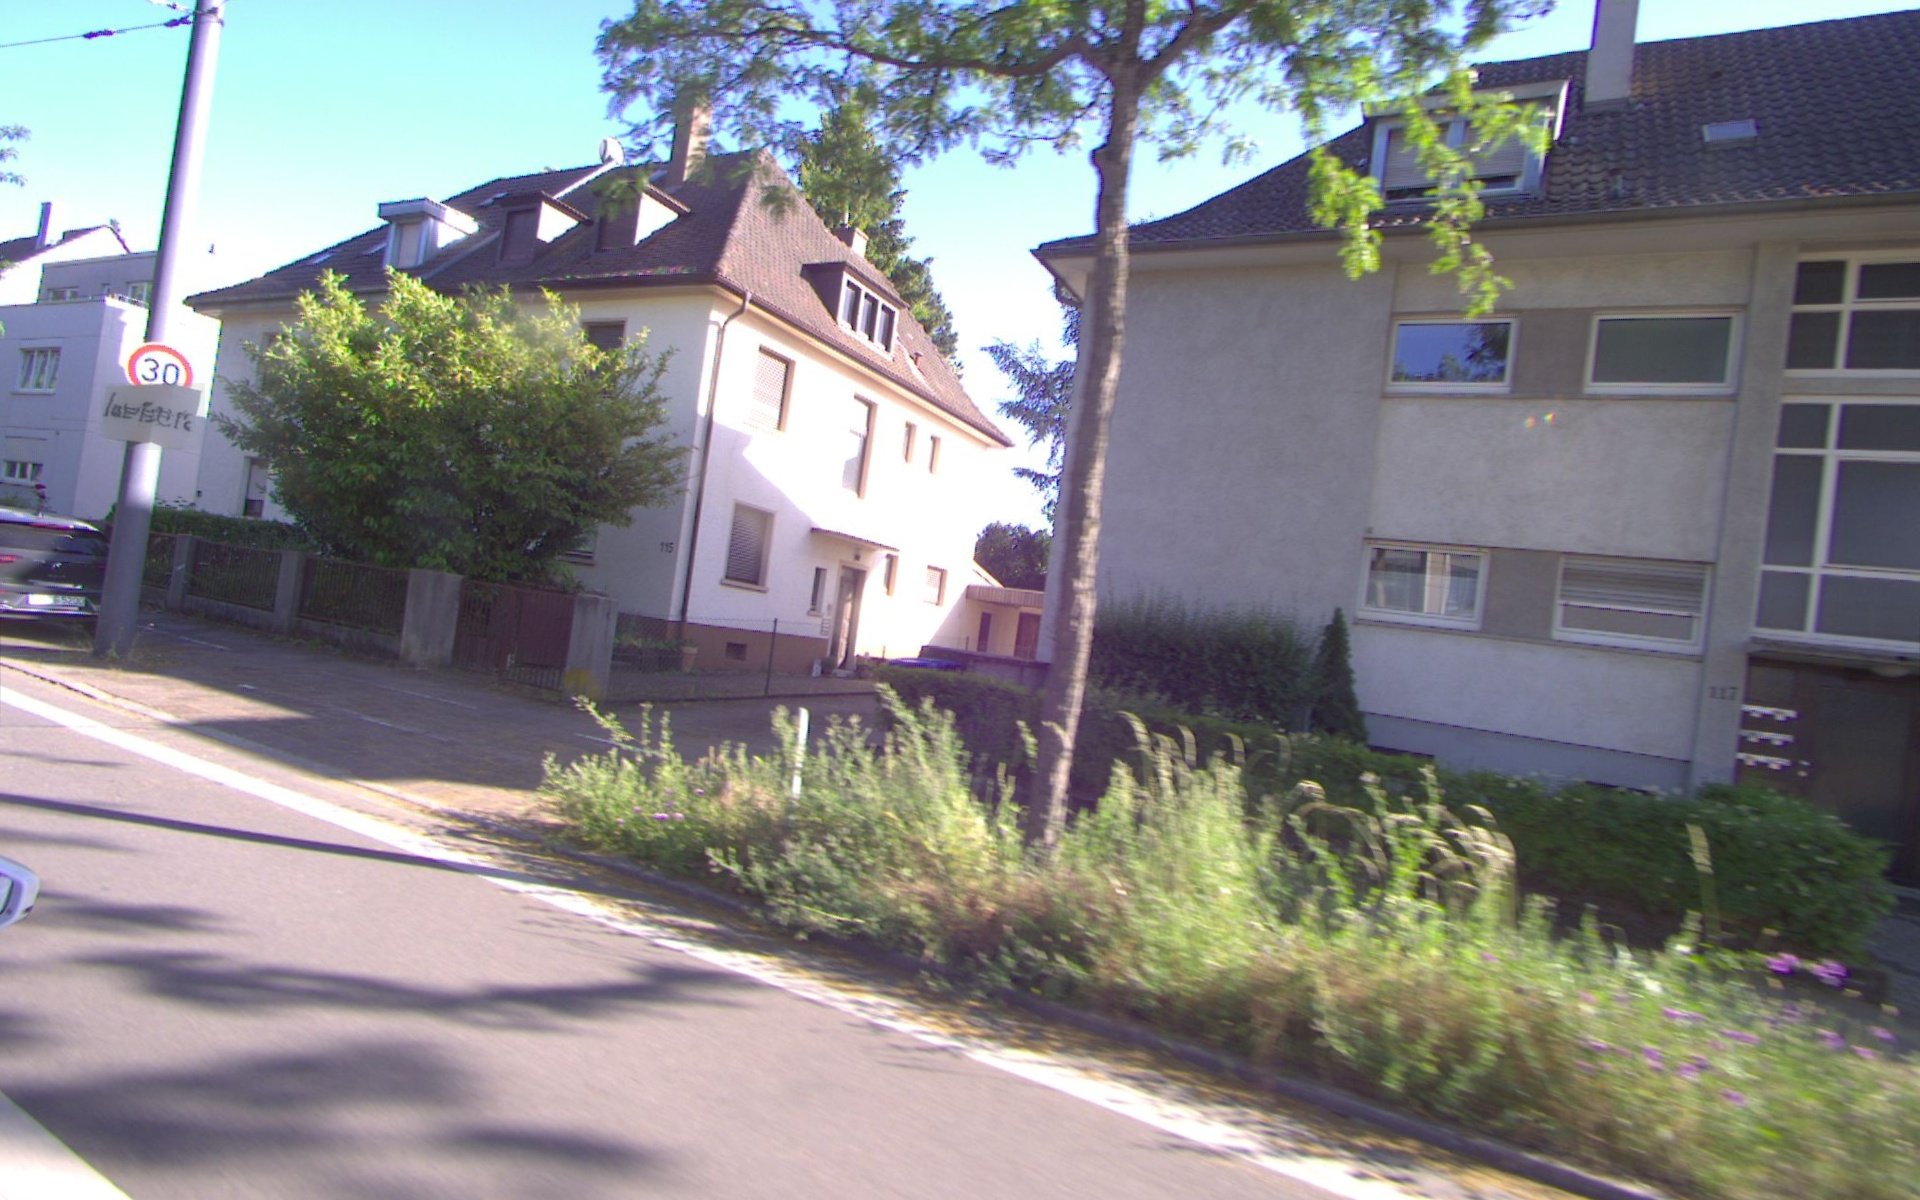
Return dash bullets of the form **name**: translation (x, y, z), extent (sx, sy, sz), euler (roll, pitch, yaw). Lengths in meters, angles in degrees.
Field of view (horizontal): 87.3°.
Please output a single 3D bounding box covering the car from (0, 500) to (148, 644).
- **car**: translation (-12.259, -0.521, 12.470), extent (4.366, 1.512, 1.753), euler (7, -1, 28)
